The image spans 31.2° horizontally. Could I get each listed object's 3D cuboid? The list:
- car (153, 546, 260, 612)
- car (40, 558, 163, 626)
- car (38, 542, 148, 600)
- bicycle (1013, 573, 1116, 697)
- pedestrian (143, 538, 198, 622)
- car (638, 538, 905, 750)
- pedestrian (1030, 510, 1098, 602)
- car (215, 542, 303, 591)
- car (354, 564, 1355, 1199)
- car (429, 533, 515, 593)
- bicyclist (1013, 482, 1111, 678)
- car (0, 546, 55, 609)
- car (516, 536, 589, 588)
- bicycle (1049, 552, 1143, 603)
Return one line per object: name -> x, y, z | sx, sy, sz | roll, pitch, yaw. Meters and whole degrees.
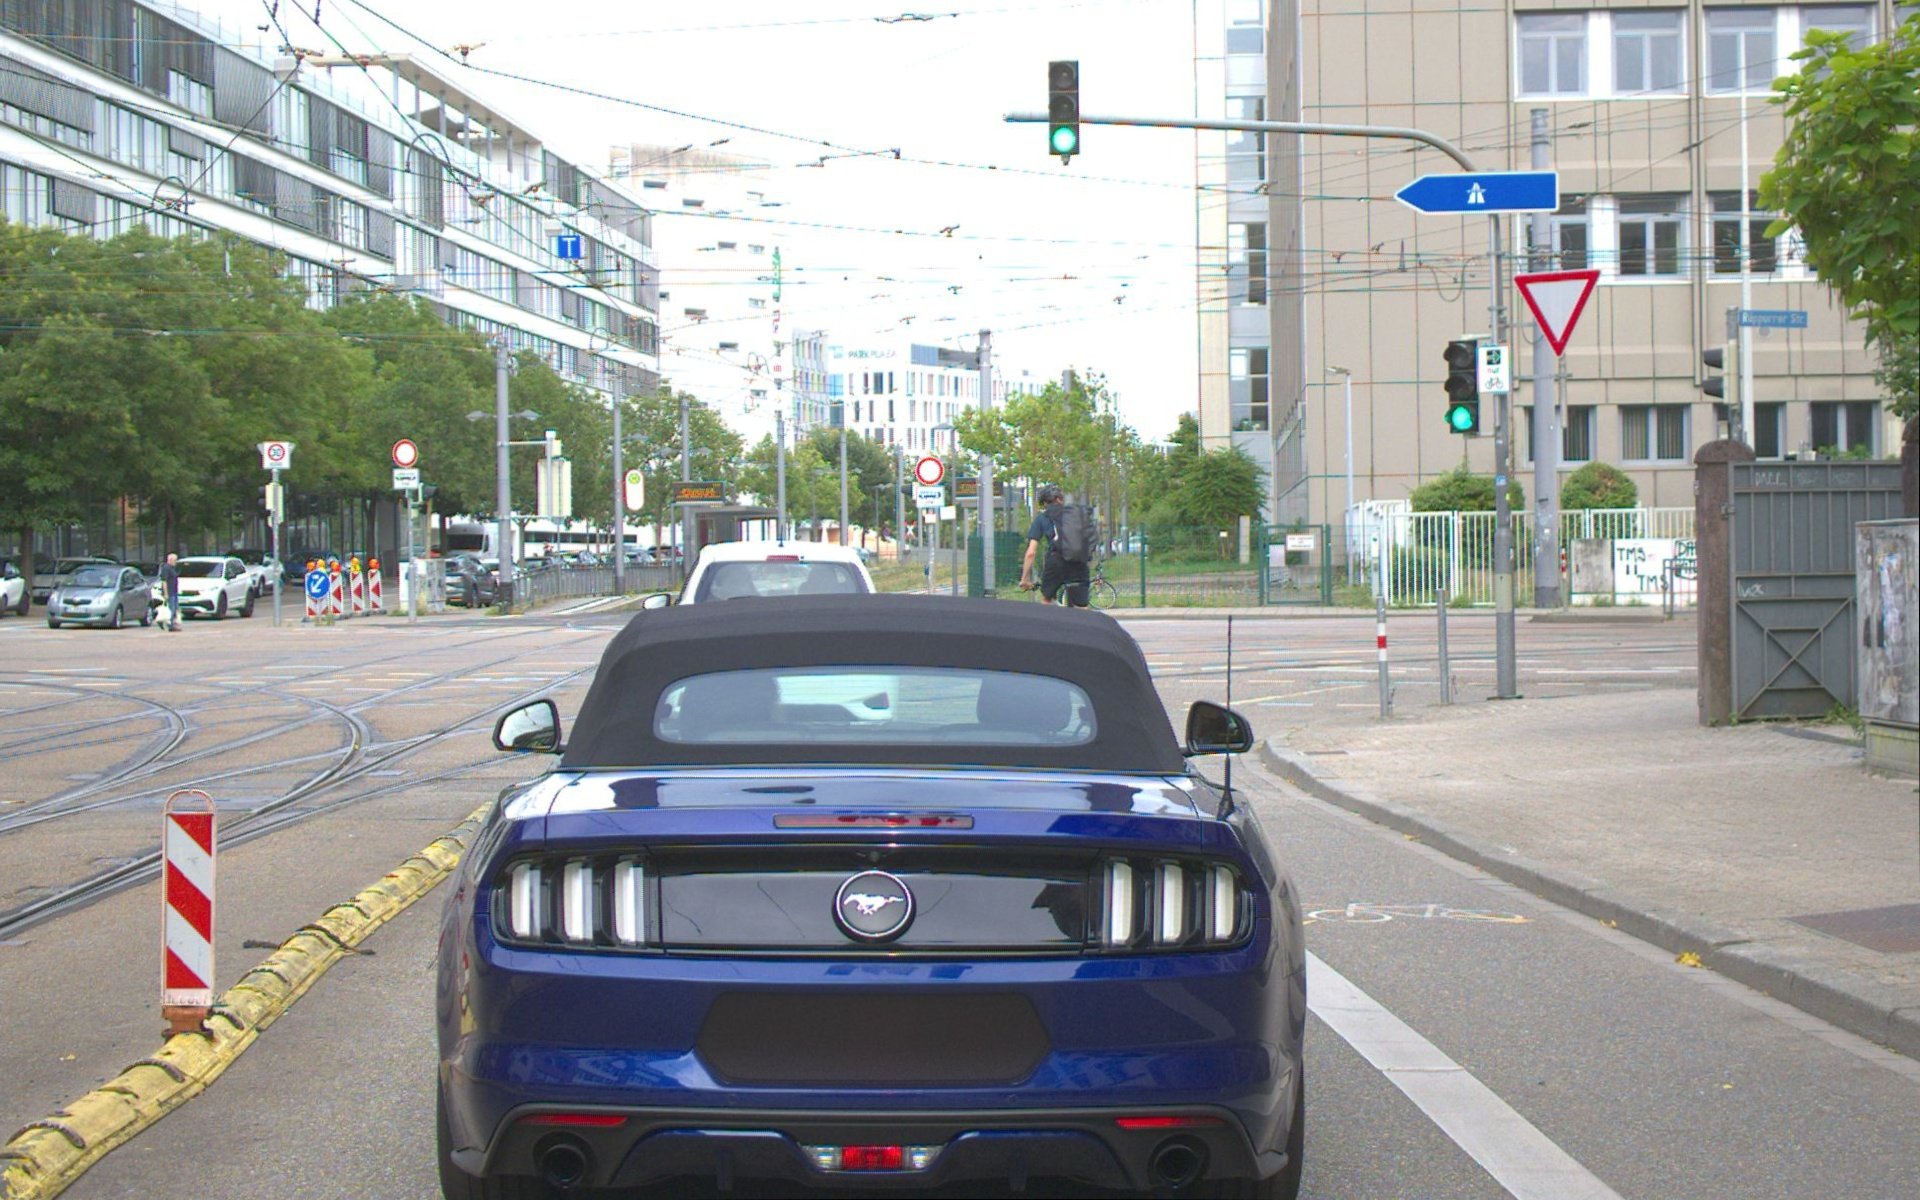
car -> -20.095, -0.591, 91.852 | 1.715, 1.654, 4.133 | 1, 1, 3
car -> -20.706, -0.214, 83.024 | 1.668, 1.501, 4.234 | 1, 1, 3
car -> -24.730, -0.833, 98.141 | 1.830, 1.551, 4.216 | 1, 1, 3
bicycle -> 0.957, 0.305, 31.984 | 0.800, 1.082, 2.132 | -1, 1, -2
pedestrian -> -17.634, -0.449, 76.797 | 0.989, 1.849, 0.902 | -1, 1, 1
car -> -1.483, 0.270, 26.011 | 1.835, 1.434, 4.188 | -1, 1, -5
pedestrian -> 2.175, -0.921, 71.834 | 1.088, 1.891, 0.900 | 0, 1, 37
car -> -23.690, -1.160, 116.345 | 1.986, 1.551, 4.512 | 1, 1, 1
car -> -0.213, 0.644, 8.633 | 1.876, 1.399, 4.282 | 1, 1, 0
car -> -13.779, -1.074, 97.246 | 1.879, 1.623, 4.087 | -1, 1, -1
bicyclist -> 0.942, -0.194, 31.998 | 0.796, 1.779, 1.233 | -1, 1, -2
car -> -25.534, -0.624, 90.944 | 1.830, 1.551, 4.216 | 1, 1, 3
car -> -13.100, -1.251, 110.781 | 1.868, 1.600, 4.213 | -1, 1, -1
bicycle -> 2.859, -0.462, 72.446 | 0.632, 0.977, 2.157 | -2, -1, -42
